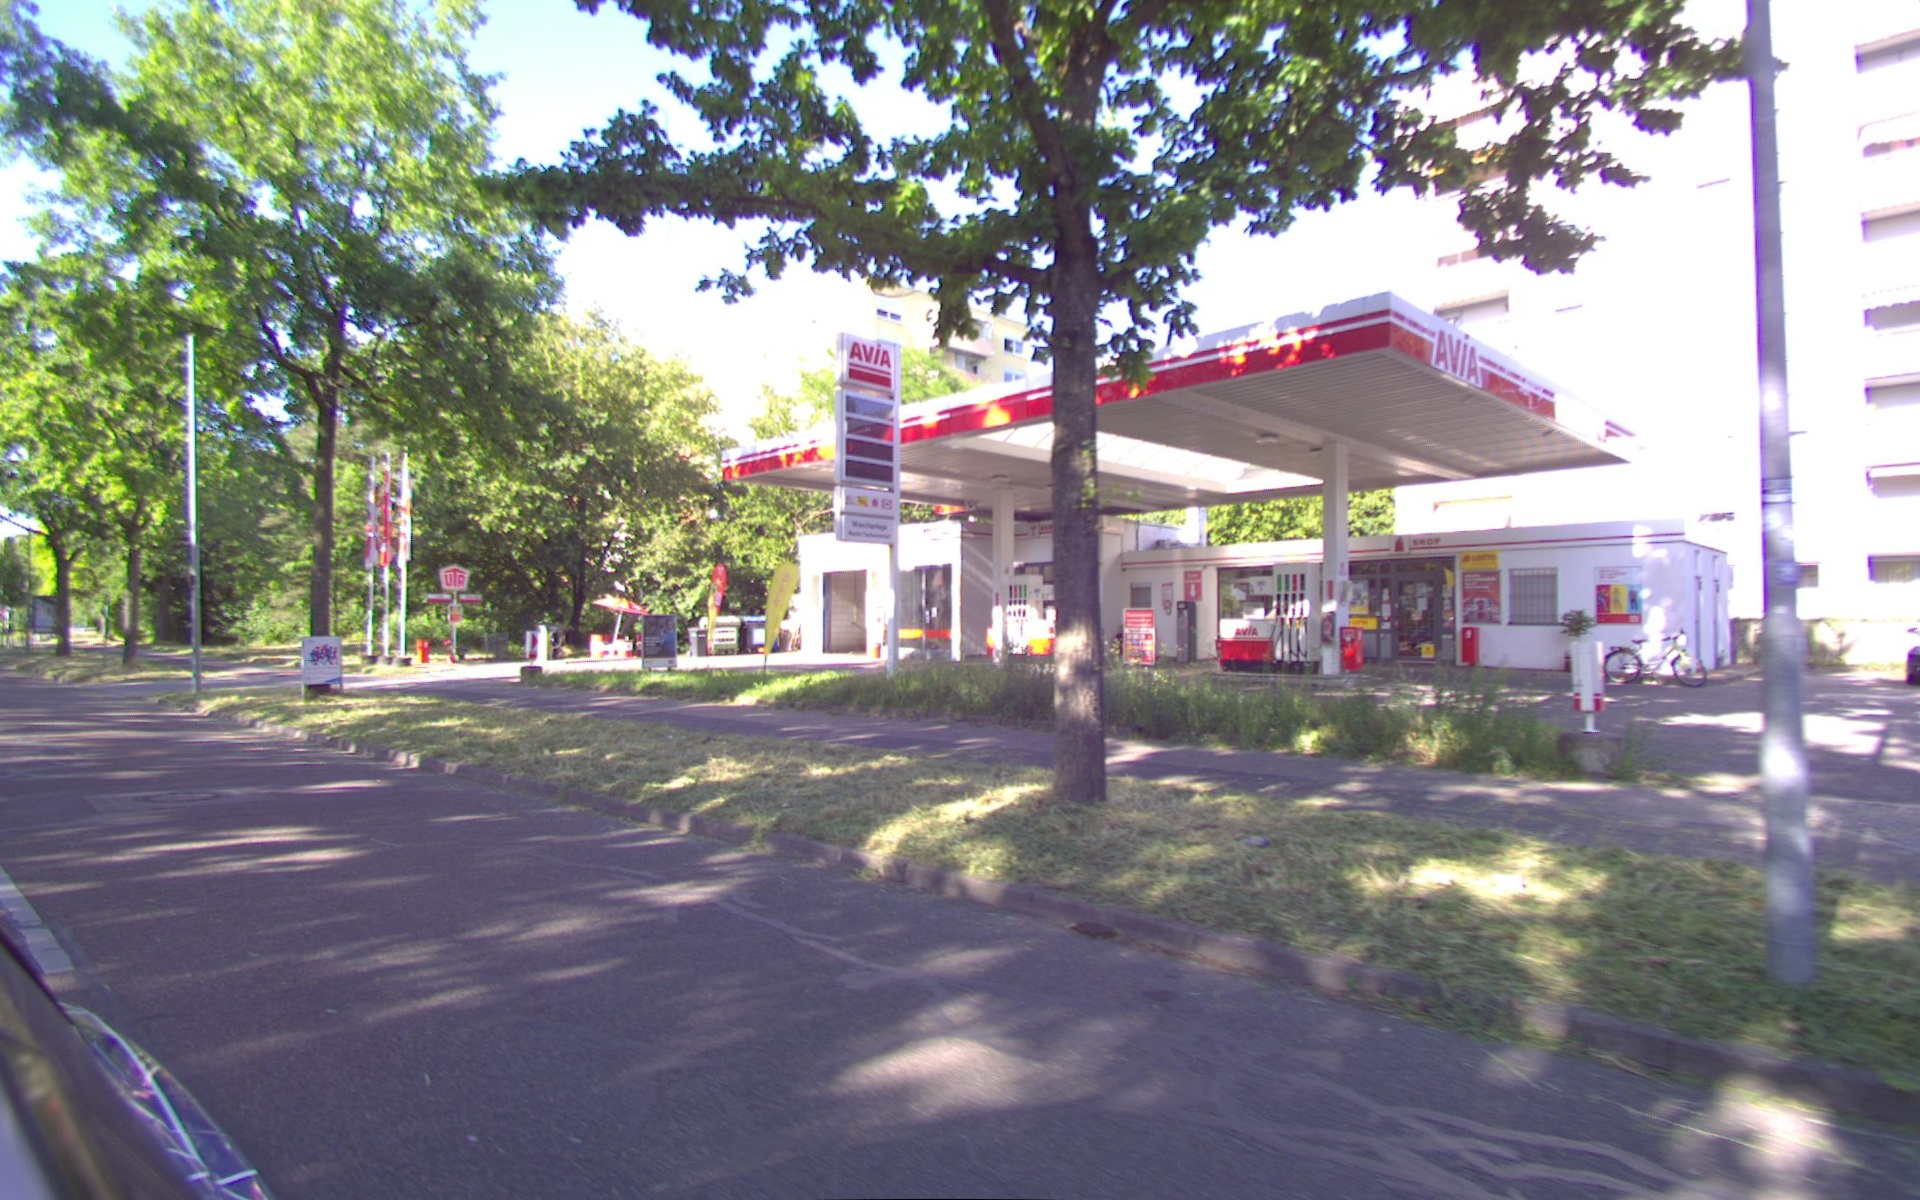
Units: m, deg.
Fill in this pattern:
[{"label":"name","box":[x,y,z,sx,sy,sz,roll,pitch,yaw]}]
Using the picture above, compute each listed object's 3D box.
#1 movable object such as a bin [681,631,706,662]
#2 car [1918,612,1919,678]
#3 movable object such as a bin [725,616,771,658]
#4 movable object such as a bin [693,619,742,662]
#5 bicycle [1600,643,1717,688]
[{"label":"movable object such as a bin","box":[-9.737,1.698,36.966,0.768,1.094,0.562,-2,-3,41]},{"label":"car","box":[19.361,0.890,19.089,3.155,1.411,1.587,-1,-1,-42]},{"label":"movable object such as a bin","box":[-8.101,1.416,38.624,1.163,1.553,1.290,-2,-1,41]},{"label":"movable object such as a bin","box":[-9.023,1.496,37.654,1.267,1.553,1.290,-2,-3,41]},{"label":"bicycle","box":[13.678,1.262,19.862,0.609,0.813,1.784,1,-2,-34]}]
